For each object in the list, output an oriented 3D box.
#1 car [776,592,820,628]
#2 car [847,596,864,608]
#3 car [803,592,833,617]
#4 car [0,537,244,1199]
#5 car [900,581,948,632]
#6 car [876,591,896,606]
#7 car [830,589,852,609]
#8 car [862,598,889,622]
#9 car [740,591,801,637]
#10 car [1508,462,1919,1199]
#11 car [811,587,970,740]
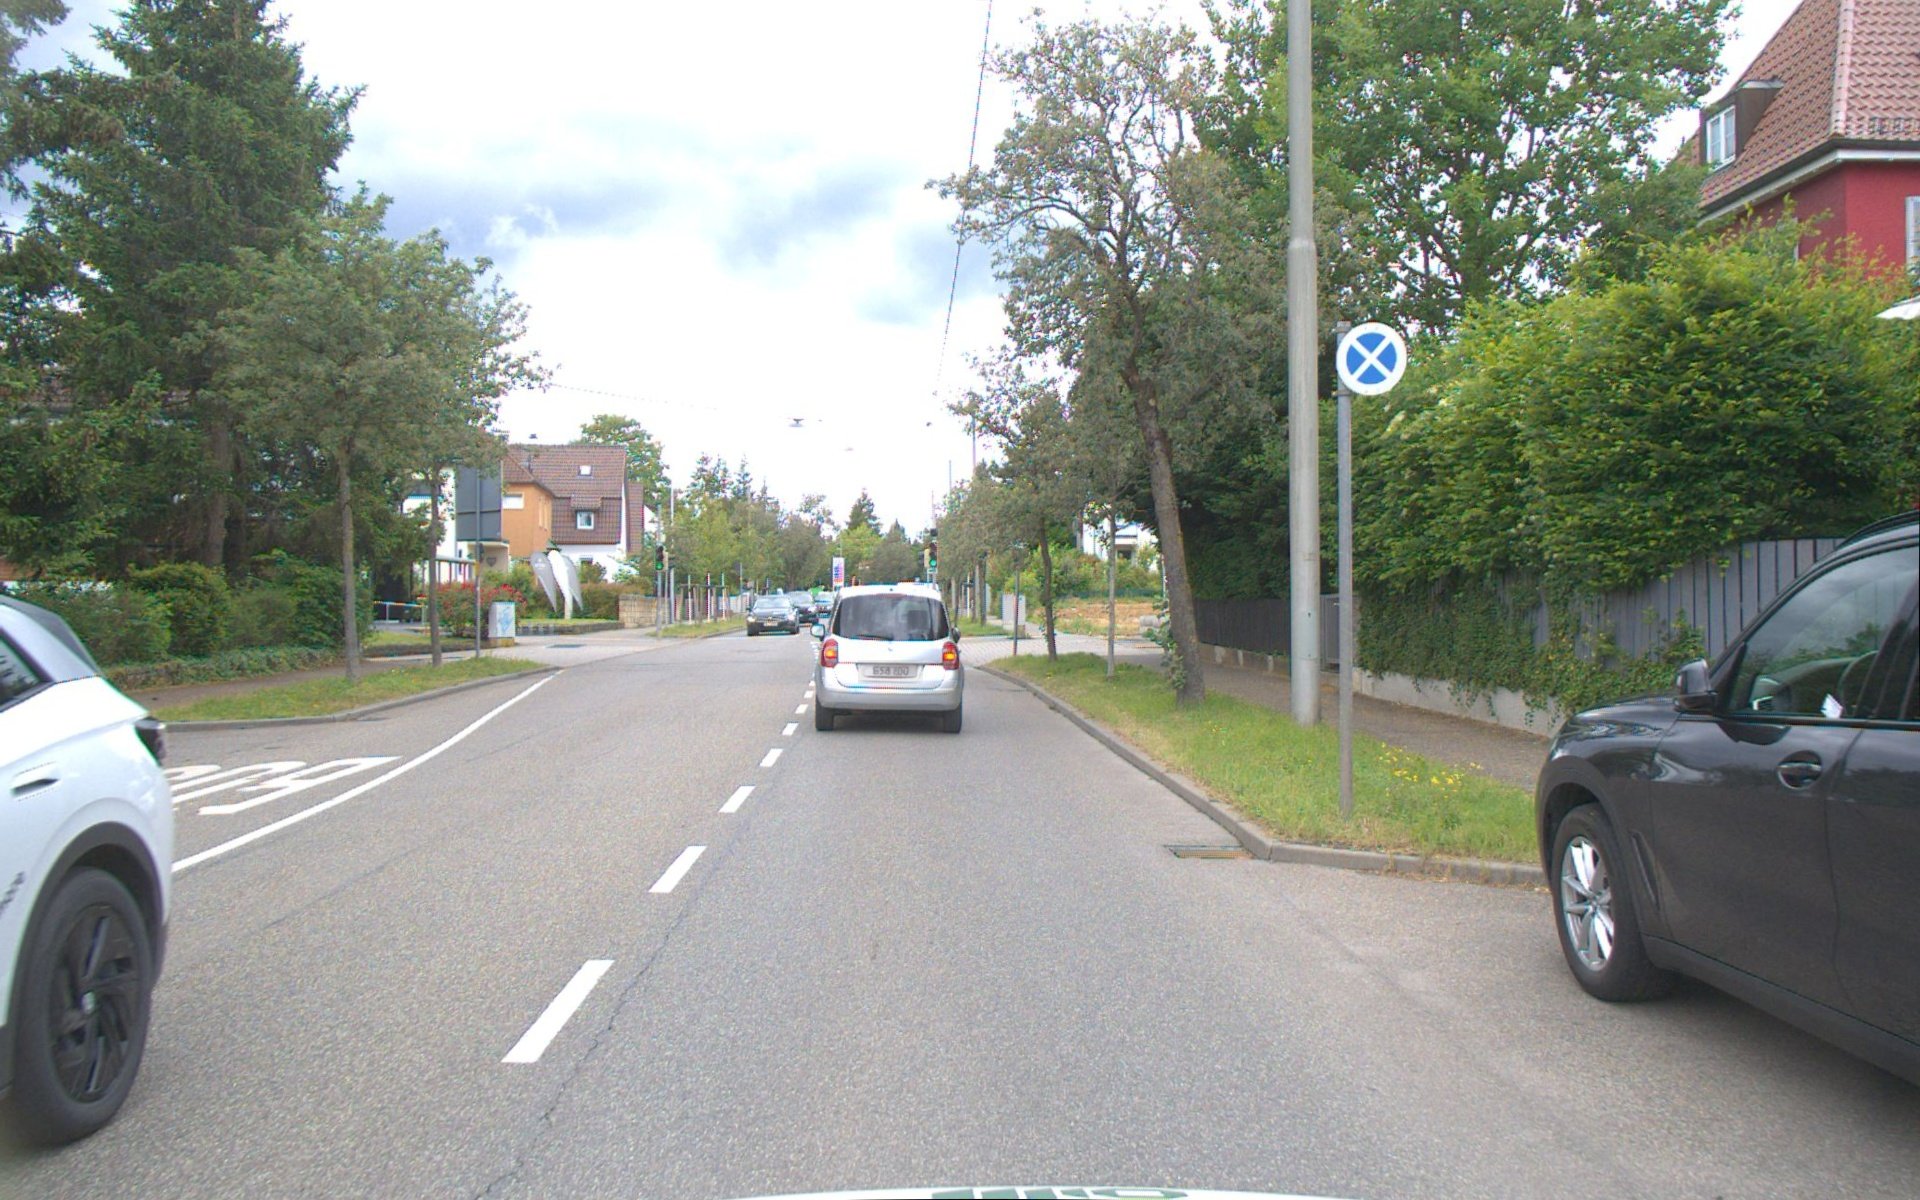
[{"bbox_3d":[-7.536,0.439,77.278,1.858,1.653,3.997,0,0,-3],"label":"car"},{"bbox_3d":[-13.369,0.257,211.727,1.665,1.532,3.962,0,0,-11],"label":"car"},{"bbox_3d":[-9.152,0.252,106.892,1.583,1.497,3.999,-2,0,-1],"label":"car"},{"bbox_3d":[-3.146,0.691,3.217,1.785,1.631,4.296,-1,0,-3],"label":"car"},{"bbox_3d":[-1.494,0.235,67.216,1.740,1.977,4.785,1,0,-3],"label":"car"},{"bbox_3d":[-7.419,-0.149,165.239,1.597,1.477,3.867,-1,0,-9],"label":"car"},{"bbox_3d":[-10.716,-0.061,149.198,1.778,1.722,4.463,-2,0,-3],"label":"car"},{"bbox_3d":[-6.706,0.770,130.968,1.800,1.743,3.994,-2,0,-7],"label":"car"},{"bbox_3d":[-7.041,0.497,61.773,1.954,1.649,4.645,-1,0,-3],"label":"car"},{"bbox_3d":[3.341,0.557,4.690,1.859,1.869,4.914,-2,0,-1],"label":"car"},{"bbox_3d":[-0.809,0.657,19.207,1.646,1.587,3.510,1,0,-3],"label":"car"}]
